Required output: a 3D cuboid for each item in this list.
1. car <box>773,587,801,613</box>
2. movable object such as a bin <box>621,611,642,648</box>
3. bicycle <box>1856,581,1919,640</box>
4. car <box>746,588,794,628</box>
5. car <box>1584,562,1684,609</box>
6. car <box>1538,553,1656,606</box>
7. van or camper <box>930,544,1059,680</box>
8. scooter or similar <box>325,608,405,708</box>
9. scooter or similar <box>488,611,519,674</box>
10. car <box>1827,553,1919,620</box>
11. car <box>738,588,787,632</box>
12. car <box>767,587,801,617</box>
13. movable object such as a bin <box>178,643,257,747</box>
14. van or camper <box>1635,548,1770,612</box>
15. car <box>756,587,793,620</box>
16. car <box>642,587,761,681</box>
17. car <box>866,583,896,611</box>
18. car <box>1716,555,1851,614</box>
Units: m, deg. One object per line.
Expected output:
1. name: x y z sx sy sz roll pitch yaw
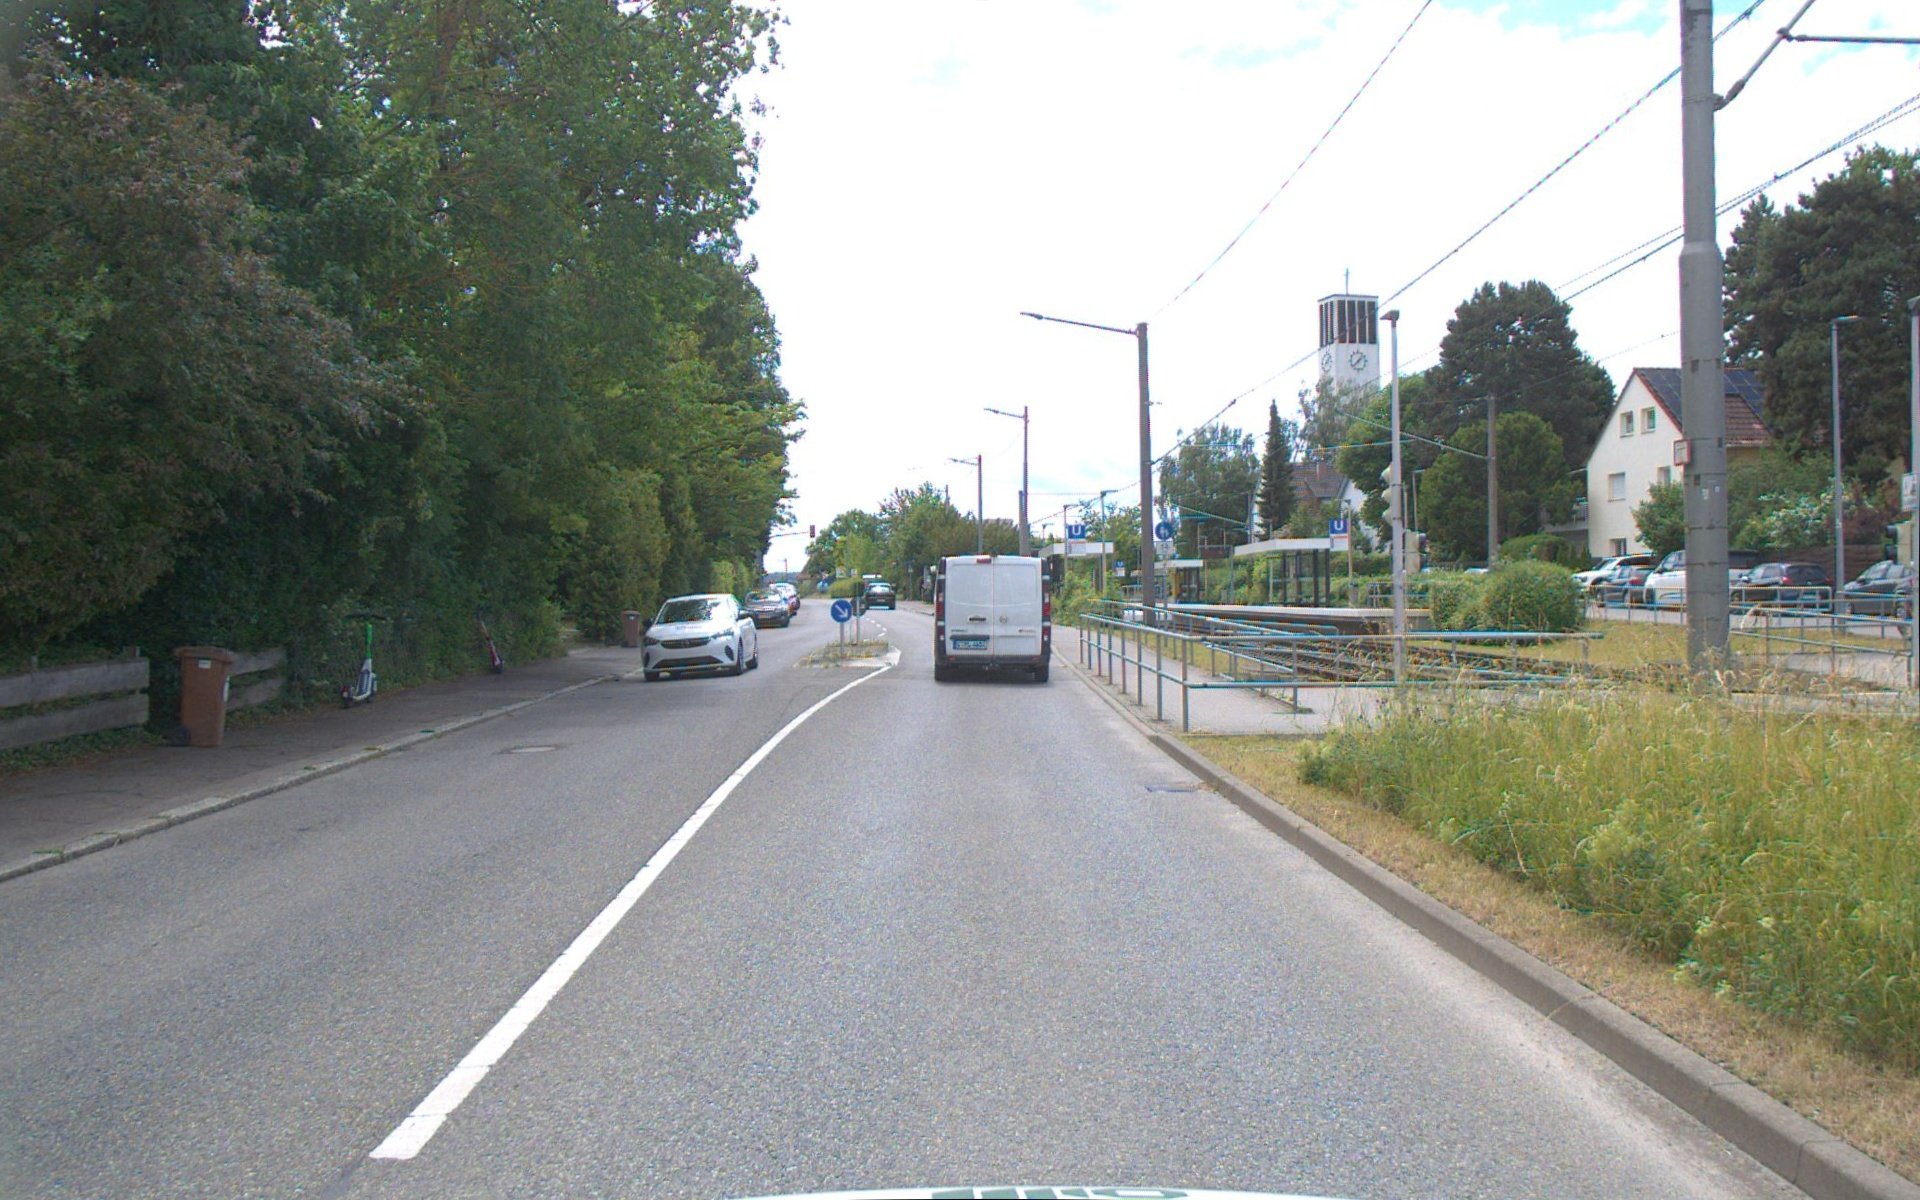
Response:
1. car: -11.424 -0.014 109.080 1.728 1.654 4.180 -2 1 -7
2. movable object such as a bin: -8.607 0.775 43.337 0.455 0.946 0.428 3 -1 -17
3. bicycle: 17.657 0.188 30.856 0.527 1.064 2.540 -1 0 1
4. car: -7.808 0.305 68.206 1.703 1.531 3.959 -3 1 -4
5. car: 23.209 -0.501 57.093 1.844 1.548 4.000 -1 0 1
6. car: 26.831 -0.861 69.683 4.245 1.977 1.744 -4 1 -6
7. van or camper: 0.546 0.192 27.381 1.952 2.049 4.446 1 0 0
8. scooter or similar: -7.694 0.725 21.431 0.400 1.220 1.639 -1 0 1
9. scooter or similar: -8.185 0.754 29.667 0.470 1.100 1.207 0 0 -18
10. car: 23.137 -0.344 40.400 1.844 1.548 4.000 -1 0 1
11. car: -7.432 0.336 62.445 1.703 1.531 4.472 -3 1 -6
12. car: -9.341 0.108 87.696 1.728 1.497 4.180 -2 1 -7
13. movable object such as a bin: -7.154 0.908 15.951 0.503 0.961 0.568 0 0 -1
14. van or camper: 23.040 -0.607 51.559 1.866 1.858 5.047 -1 0 -1
15. car: -8.949 0.145 80.037 1.557 1.531 3.512 -2 1 -4
16. car: -4.543 0.555 29.486 1.660 1.455 3.784 -4 0 -4
17. car: -4.919 -0.207 103.507 1.815 1.677 3.733 -1 0 -2
18. car: 23.114 -0.425 46.564 1.844 1.548 4.000 -1 0 1
